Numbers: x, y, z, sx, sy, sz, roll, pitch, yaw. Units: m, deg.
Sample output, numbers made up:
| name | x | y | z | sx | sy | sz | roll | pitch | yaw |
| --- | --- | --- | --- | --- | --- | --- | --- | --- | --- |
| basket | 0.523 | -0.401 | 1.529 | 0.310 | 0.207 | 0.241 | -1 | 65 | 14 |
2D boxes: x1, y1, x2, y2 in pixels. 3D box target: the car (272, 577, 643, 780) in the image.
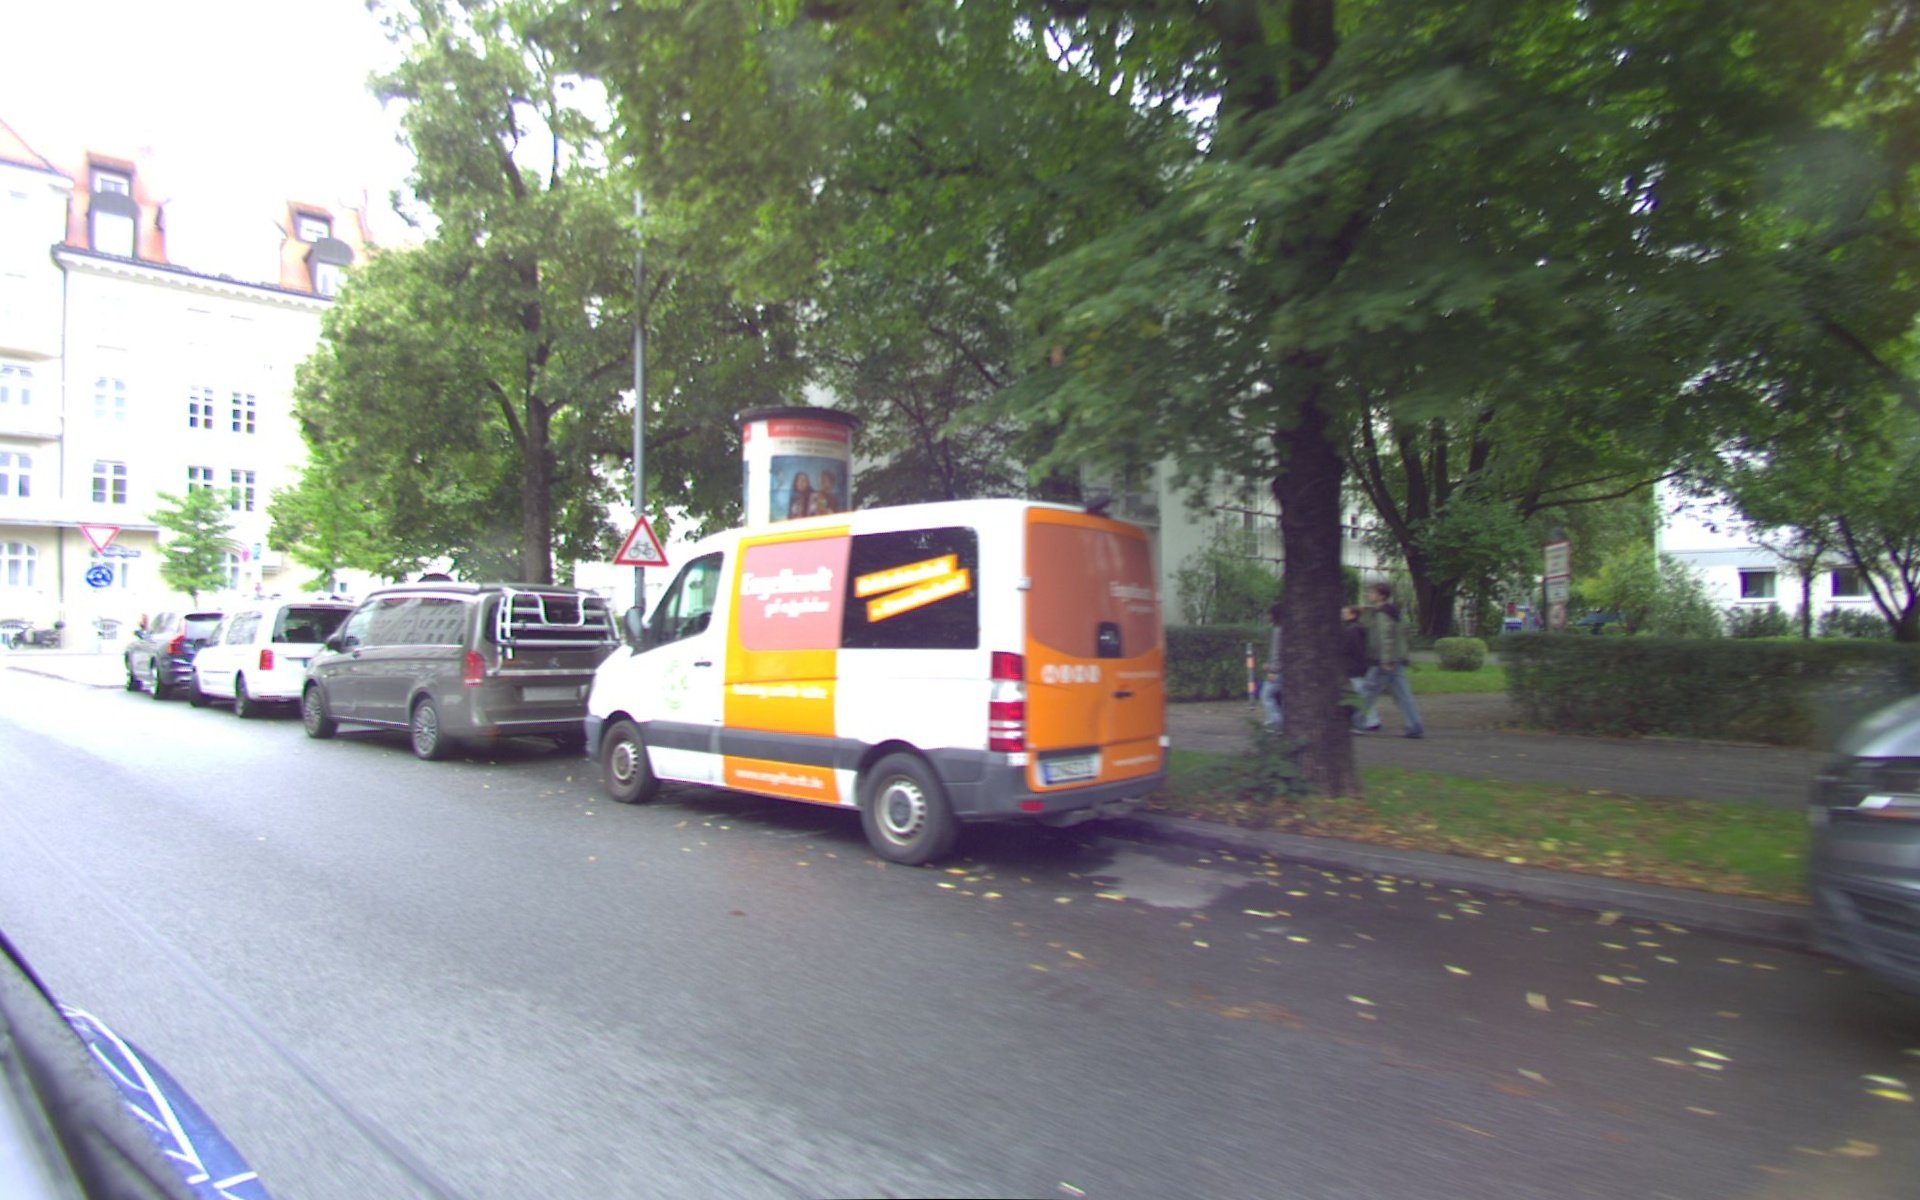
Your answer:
| name | x | y | z | sx | sy | sz | roll | pitch | yaw |
| --- | --- | --- | --- | --- | --- | --- | --- | --- | --- |
| car | -6.303 | 0.847 | 12.351 | 5.453 | 1.979 | 1.926 | -1 | -3 | 39 |

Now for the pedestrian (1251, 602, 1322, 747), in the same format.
| name | x | y | z | sx | sy | sz | roll | pitch | yaw |
| --- | --- | --- | --- | --- | --- | --- | --- | --- | --- |
| pedestrian | 3.774 | 0.832 | 11.691 | 0.537 | 1.603 | 0.691 | -1 | -1 | 41 |

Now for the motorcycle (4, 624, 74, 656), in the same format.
| name | x | y | z | sx | sy | sz | roll | pitch | yaw |
| --- | --- | --- | --- | --- | --- | --- | --- | --- | --- |
| motorcycle | -40.465 | 1.740 | 44.471 | 0.824 | 1.336 | 2.213 | 0 | -1 | 45 |

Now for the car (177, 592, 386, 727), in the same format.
| name | x | y | z | sx | sy | sz | roll | pitch | yaw |
| --- | --- | --- | --- | --- | --- | --- | --- | --- | --- |
| car | -11.505 | 0.946 | 17.014 | 4.833 | 1.952 | 1.859 | -2 | -3 | 43 |

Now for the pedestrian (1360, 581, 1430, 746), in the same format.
| name | x | y | z | sx | sy | sz | roll | pitch | yaw |
| --- | --- | --- | --- | --- | --- | --- | --- | --- | --- |
| pedestrian | 5.023 | 0.708 | 11.683 | 0.537 | 1.834 | 0.691 | -1 | -1 | 41 |

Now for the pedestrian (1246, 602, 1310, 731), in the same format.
| name | x | y | z | sx | sy | sz | roll | pitch | yaw |
| --- | --- | --- | --- | --- | --- | --- | --- | --- | --- |
| pedestrian | 3.959 | 0.803 | 12.588 | 0.537 | 1.560 | 0.639 | -1 | -1 | 41 |

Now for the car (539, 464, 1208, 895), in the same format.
| name | x | y | z | sx | sy | sz | roll | pitch | yaw |
| --- | --- | --- | --- | --- | --- | --- | --- | --- | --- |
| car | -0.983 | 0.503 | 8.102 | 5.402 | 2.366 | 2.093 | -1 | -2 | 39 |

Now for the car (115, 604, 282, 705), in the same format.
| name | x | y | z | sx | sy | sz | roll | pitch | yaw |
| --- | --- | --- | --- | --- | --- | --- | --- | --- | --- |
| car | -15.549 | 1.002 | 20.547 | 5.060 | 1.781 | 1.859 | 0 | -1 | 43 |

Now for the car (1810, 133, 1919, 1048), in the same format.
| name | x | y | z | sx | sy | sz | roll | pitch | yaw |
| --- | --- | --- | --- | --- | --- | --- | --- | --- | --- |
| car | 5.837 | -0.011 | 2.075 | 6.231 | 2.876 | 1.925 | 0 | -1 | 40 |

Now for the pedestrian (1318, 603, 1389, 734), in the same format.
| name | x | y | z | sx | sy | sz | roll | pitch | yaw |
| --- | --- | --- | --- | --- | --- | --- | --- | --- | --- |
| pedestrian | 4.895 | 0.828 | 12.583 | 0.639 | 1.563 | 0.624 | -1 | -1 | 41 |

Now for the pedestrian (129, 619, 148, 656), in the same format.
| name | x | y | z | sx | sy | sz | roll | pitch | yaw |
| --- | --- | --- | --- | --- | --- | --- | --- | --- | --- |
| pedestrian | -37.912 | 1.737 | 46.707 | 0.597 | 1.677 | 0.464 | 2 | -1 | -38 |
